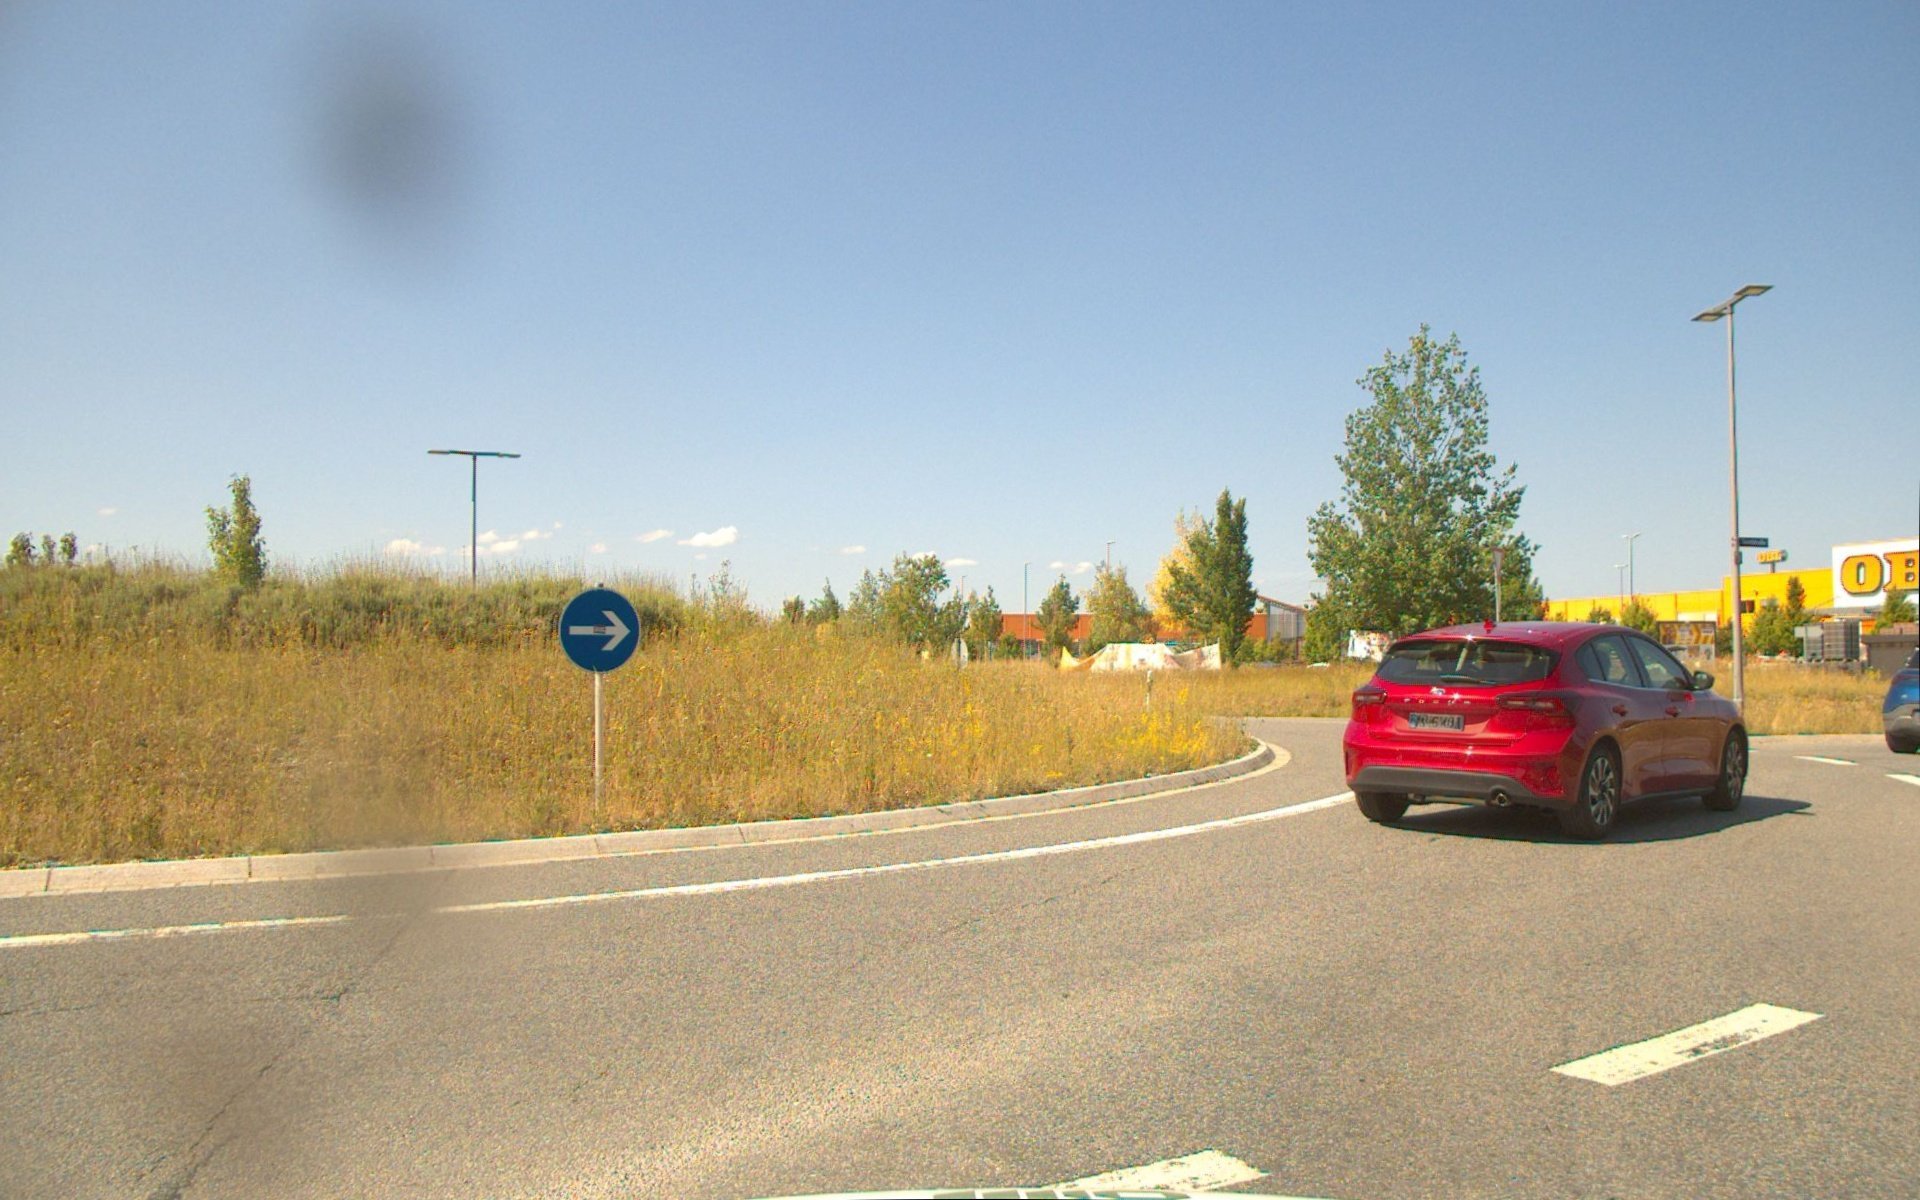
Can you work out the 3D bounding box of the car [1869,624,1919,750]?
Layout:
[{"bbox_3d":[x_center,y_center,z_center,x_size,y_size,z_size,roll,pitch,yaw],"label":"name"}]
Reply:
[{"bbox_3d":[14.481,1.184,22.778,4.031,1.664,1.835,2,-2,-34],"label":"car"}]

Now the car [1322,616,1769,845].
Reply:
[{"bbox_3d":[4.568,0.858,12.557,1.776,1.441,4.092,-1,-2,42],"label":"car"}]
